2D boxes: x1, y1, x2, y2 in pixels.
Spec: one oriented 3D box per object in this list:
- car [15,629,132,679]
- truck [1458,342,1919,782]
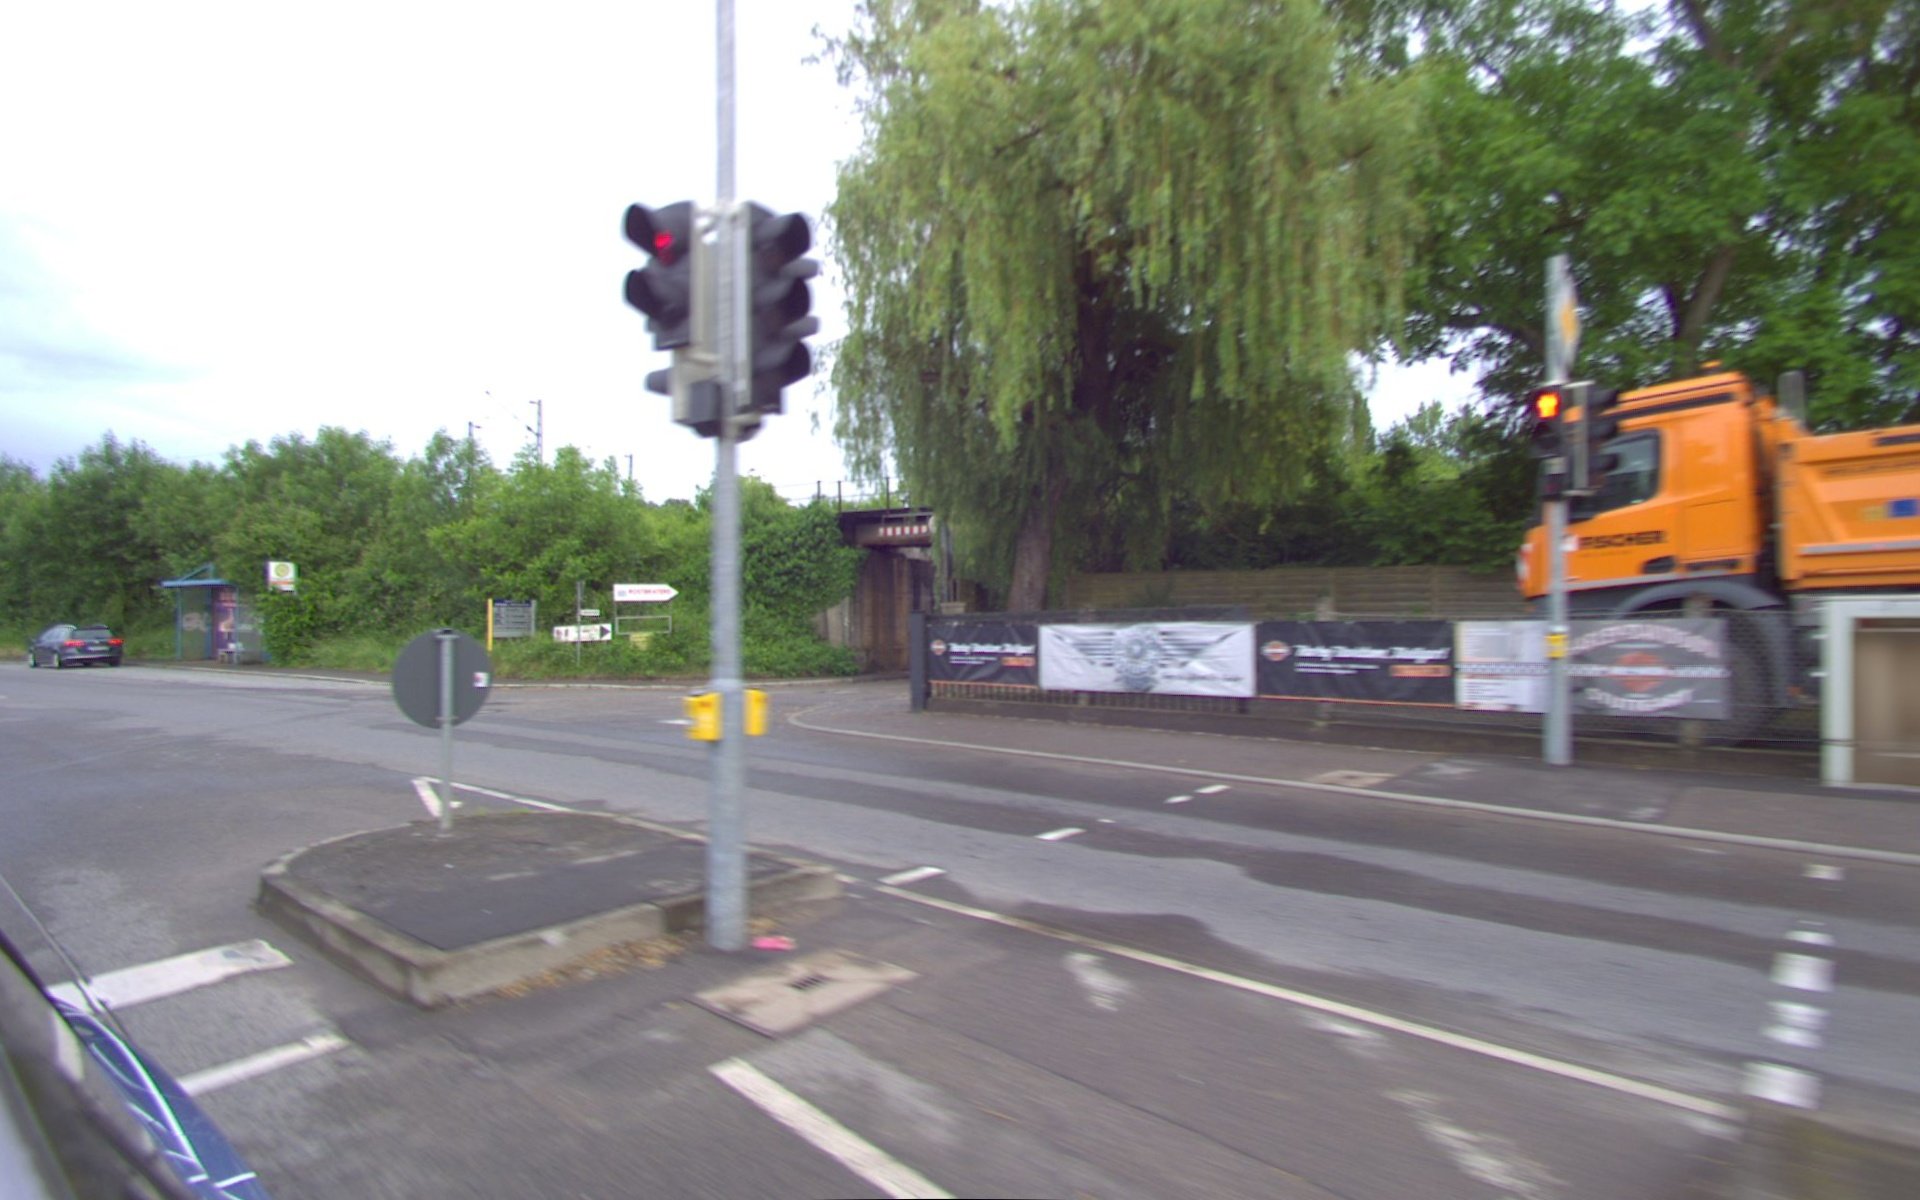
[{"bbox_3d":[-31.423,1.866,35.844,4.687,1.485,1.977,0,2,34],"label":"car"},{"bbox_3d":[9.210,-0.316,8.057,2.666,3.437,9.080,-2,2,-44],"label":"truck"}]
